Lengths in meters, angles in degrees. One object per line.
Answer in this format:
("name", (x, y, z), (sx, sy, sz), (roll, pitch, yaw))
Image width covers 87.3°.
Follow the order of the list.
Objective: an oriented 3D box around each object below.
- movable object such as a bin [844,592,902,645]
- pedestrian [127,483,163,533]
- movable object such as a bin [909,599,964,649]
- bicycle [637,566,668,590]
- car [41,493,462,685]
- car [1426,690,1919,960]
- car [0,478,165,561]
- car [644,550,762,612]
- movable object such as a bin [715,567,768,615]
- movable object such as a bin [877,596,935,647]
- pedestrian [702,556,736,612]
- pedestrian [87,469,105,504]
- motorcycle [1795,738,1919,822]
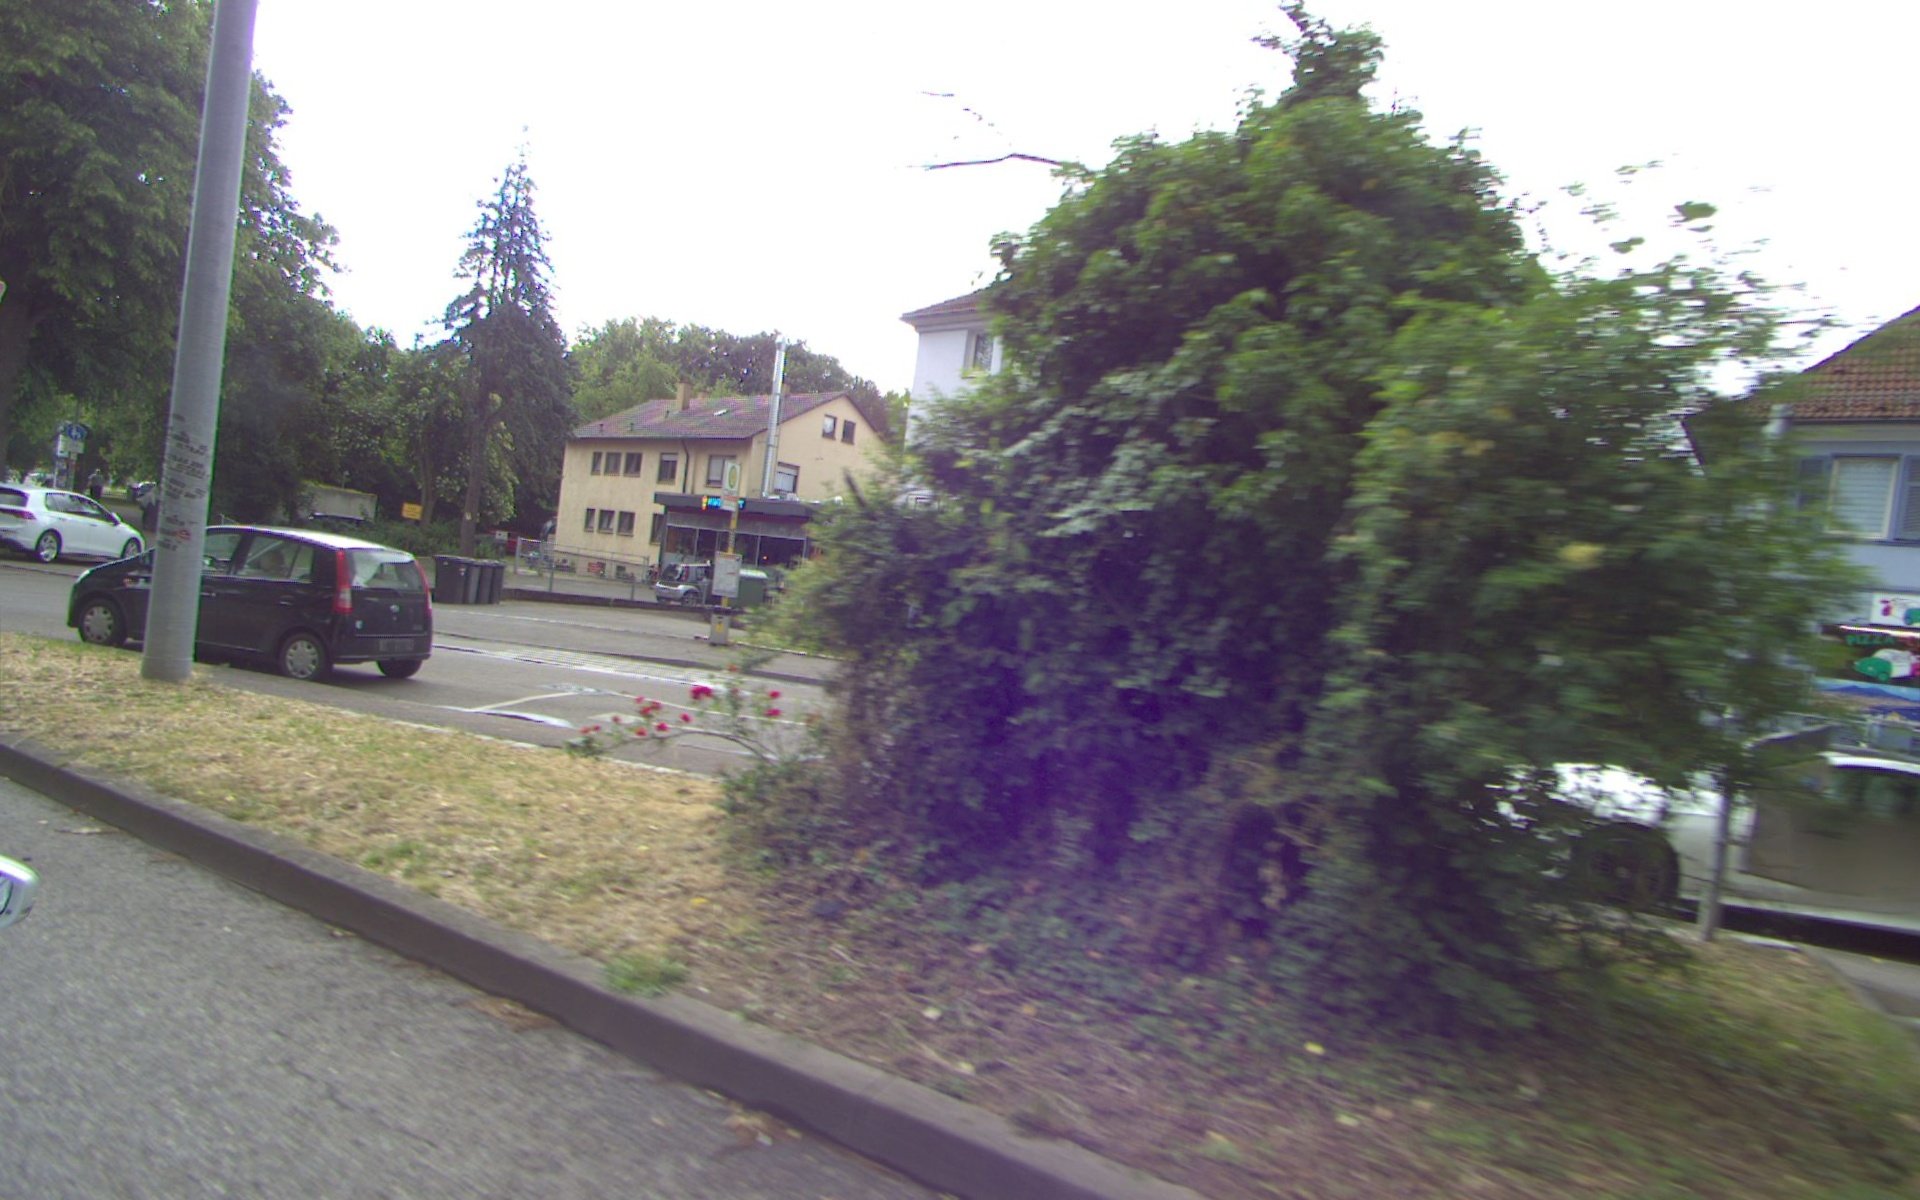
("movable object such as a bin", (-2.634, 0.557, 30.366), (1.210, 1.434, 1.081), (6, 2, -44))
("pedestrian", (-28.074, -3.168, 34.669), (0.731, 1.571, 0.683), (9, 2, 36))
("movable object such as a bin", (-0.760, 0.774, 32.242), (1.210, 1.413, 1.081), (6, 2, -44))
("bicycle", (-12.782, -0.918, 41.882), (0.405, 0.887, 1.966), (7, 1, 7))
("car", (-7.443, -0.119, 10.717), (3.428, 1.422, 1.573), (8, 1, 9))
("car", (6.641, 1.822, 8.200), (4.696, 1.404, 2.000), (7, 1, 12))
("car", (-18.455, -1.626, 20.426), (1.736, 1.397, 4.251), (8, 0, -11))
("car", (-8.609, -0.611, 33.828), (1.602, 1.651, 3.406), (8, 1, 42))
("movable object such as a bin", (-7.082, -0.283, 32.558), (0.980, 1.362, 1.216), (7, 1, 36))
("movable object such as a bin", (-1.680, 0.667, 31.323), (1.210, 1.413, 1.146), (6, 1, -44))
("pedestrian", (-7.929, -0.520, 33.129), (0.602, 1.751, 0.686), (8, 2, 36))
("pedestrian", (-40.698, -5.364, 47.385), (0.509, 1.550, 0.768), (6, 1, -45))
("motorcycle", (14.694, 2.912, 16.239), (1.693, 1.044, 0.489), (7, 2, 20))
